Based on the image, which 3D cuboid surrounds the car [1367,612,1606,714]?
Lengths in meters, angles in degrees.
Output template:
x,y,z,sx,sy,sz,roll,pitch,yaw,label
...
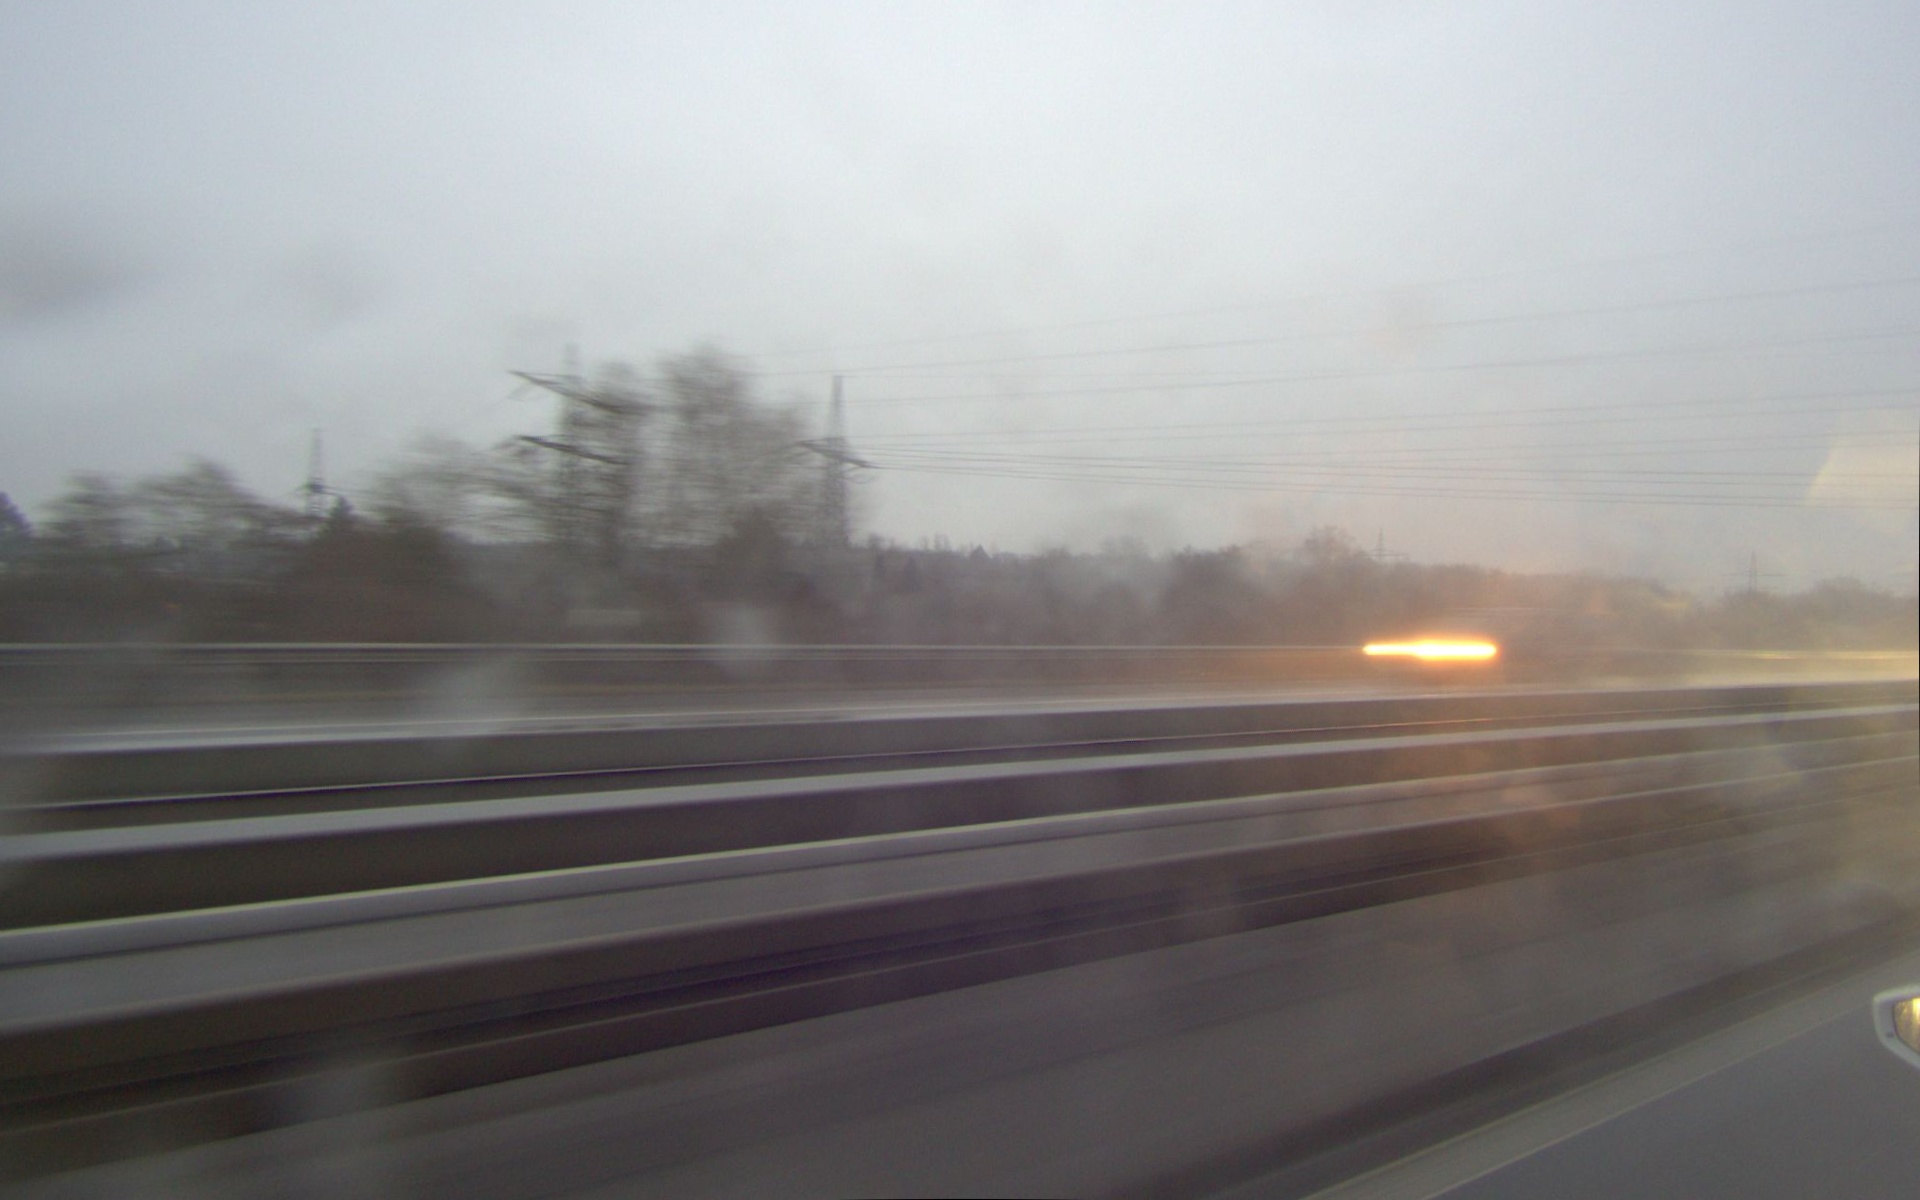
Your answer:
x,y,z,sx,sy,sz,roll,pitch,yaw,label
10.589,1.204,20.115,4.792,1.815,2.060,2,-1,-31,car
